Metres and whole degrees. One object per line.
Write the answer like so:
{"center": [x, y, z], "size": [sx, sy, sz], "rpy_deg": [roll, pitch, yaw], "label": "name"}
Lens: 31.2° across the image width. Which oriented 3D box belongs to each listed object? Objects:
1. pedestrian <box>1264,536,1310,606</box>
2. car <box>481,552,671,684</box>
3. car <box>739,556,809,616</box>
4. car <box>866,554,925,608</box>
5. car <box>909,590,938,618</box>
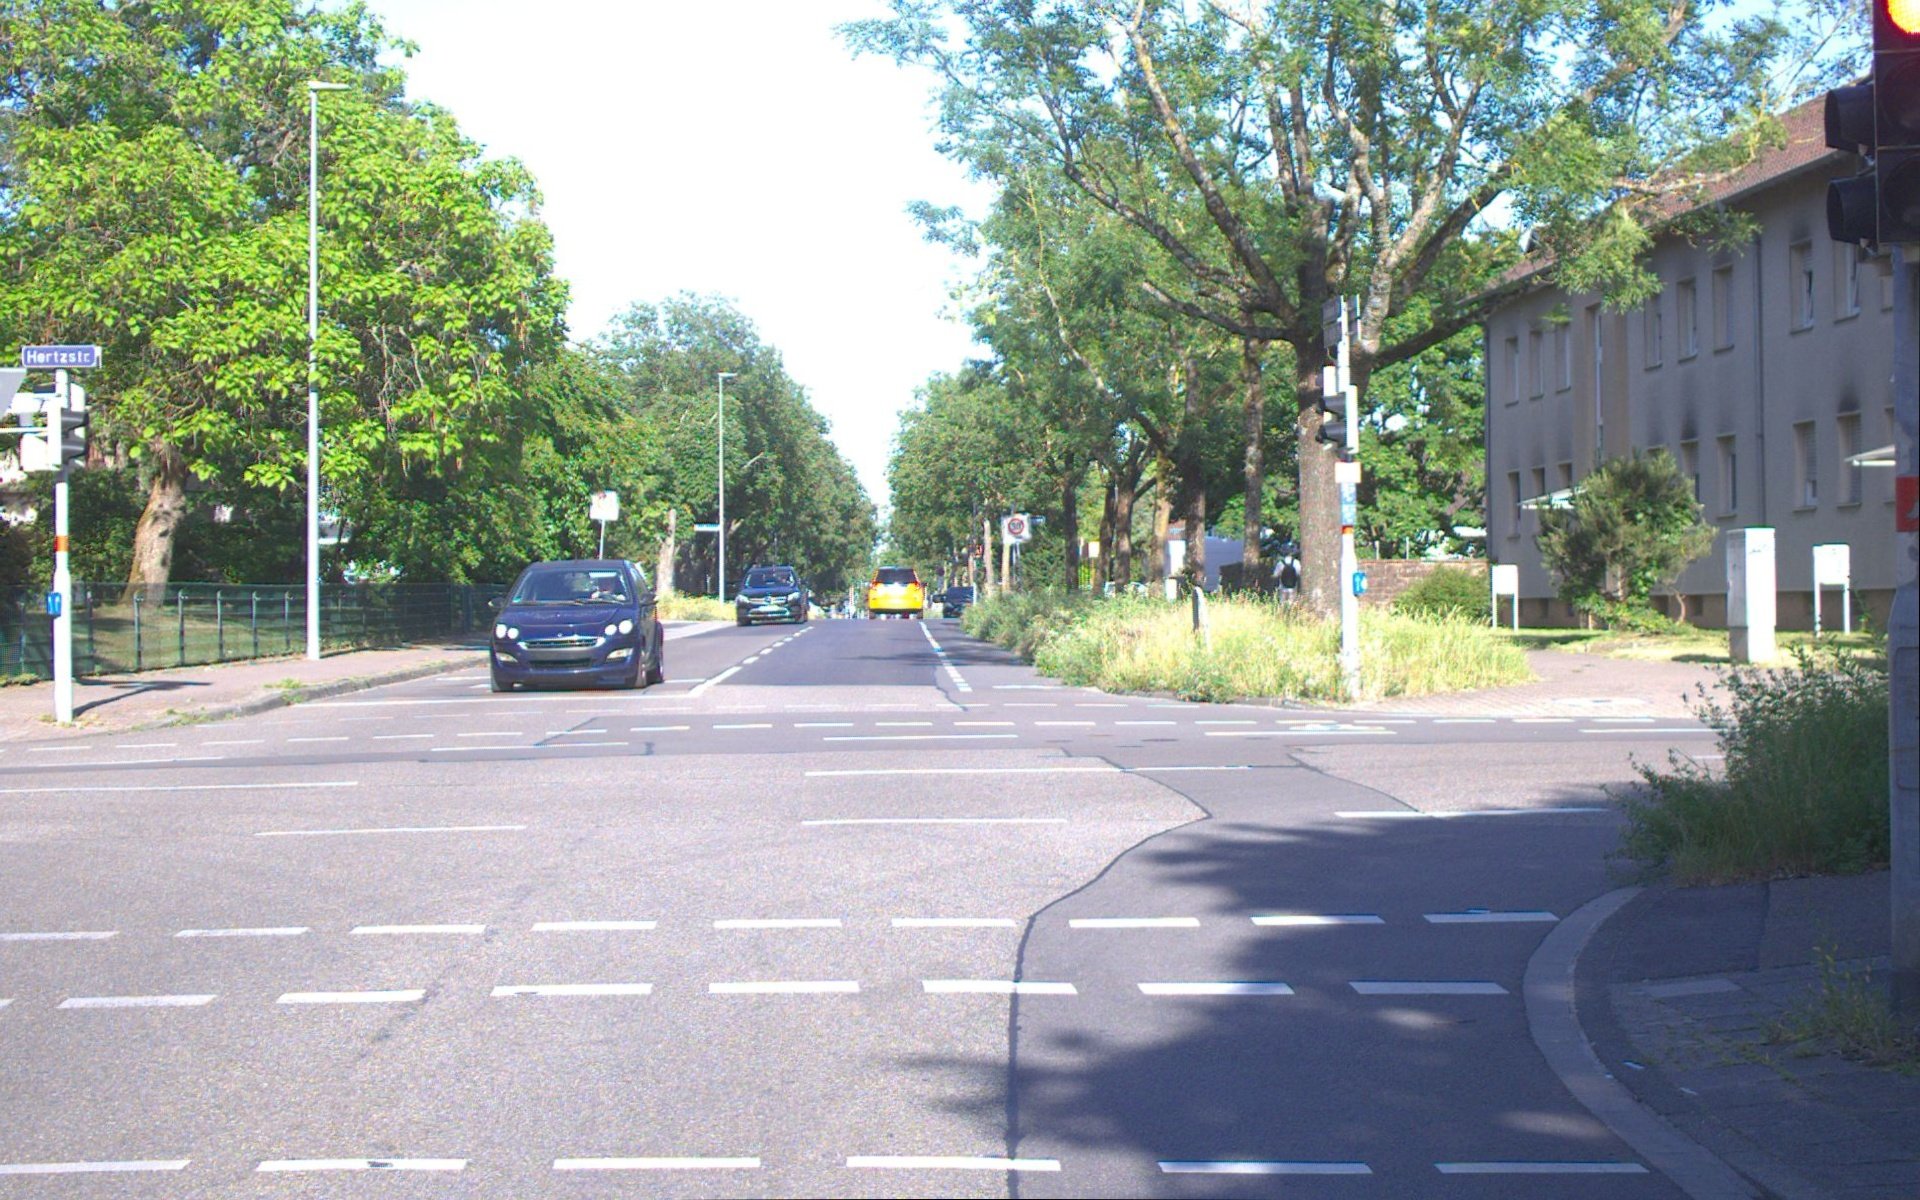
{"center": [7.041, -0.628, 73.972], "size": [0.842, 1.488, 0.924], "rpy_deg": [2, 1, -1], "label": "pedestrian"}
{"center": [-4.266, 0.172, 38.622], "size": [1.711, 1.381, 3.471], "rpy_deg": [0, 1, 0], "label": "car"}
{"center": [-5.194, -0.412, 96.309], "size": [1.758, 1.619, 3.268], "rpy_deg": [0, 1, 0], "label": "car"}
{"center": [-1.959, -0.589, 105.347], "size": [1.751, 1.577, 4.000], "rpy_deg": [1, 0, 0], "label": "car"}
{"center": [-2.320, 0.249, 219.247], "size": [1.773, 1.748, 4.000], "rpy_deg": [1, 0, 0], "label": "car"}
